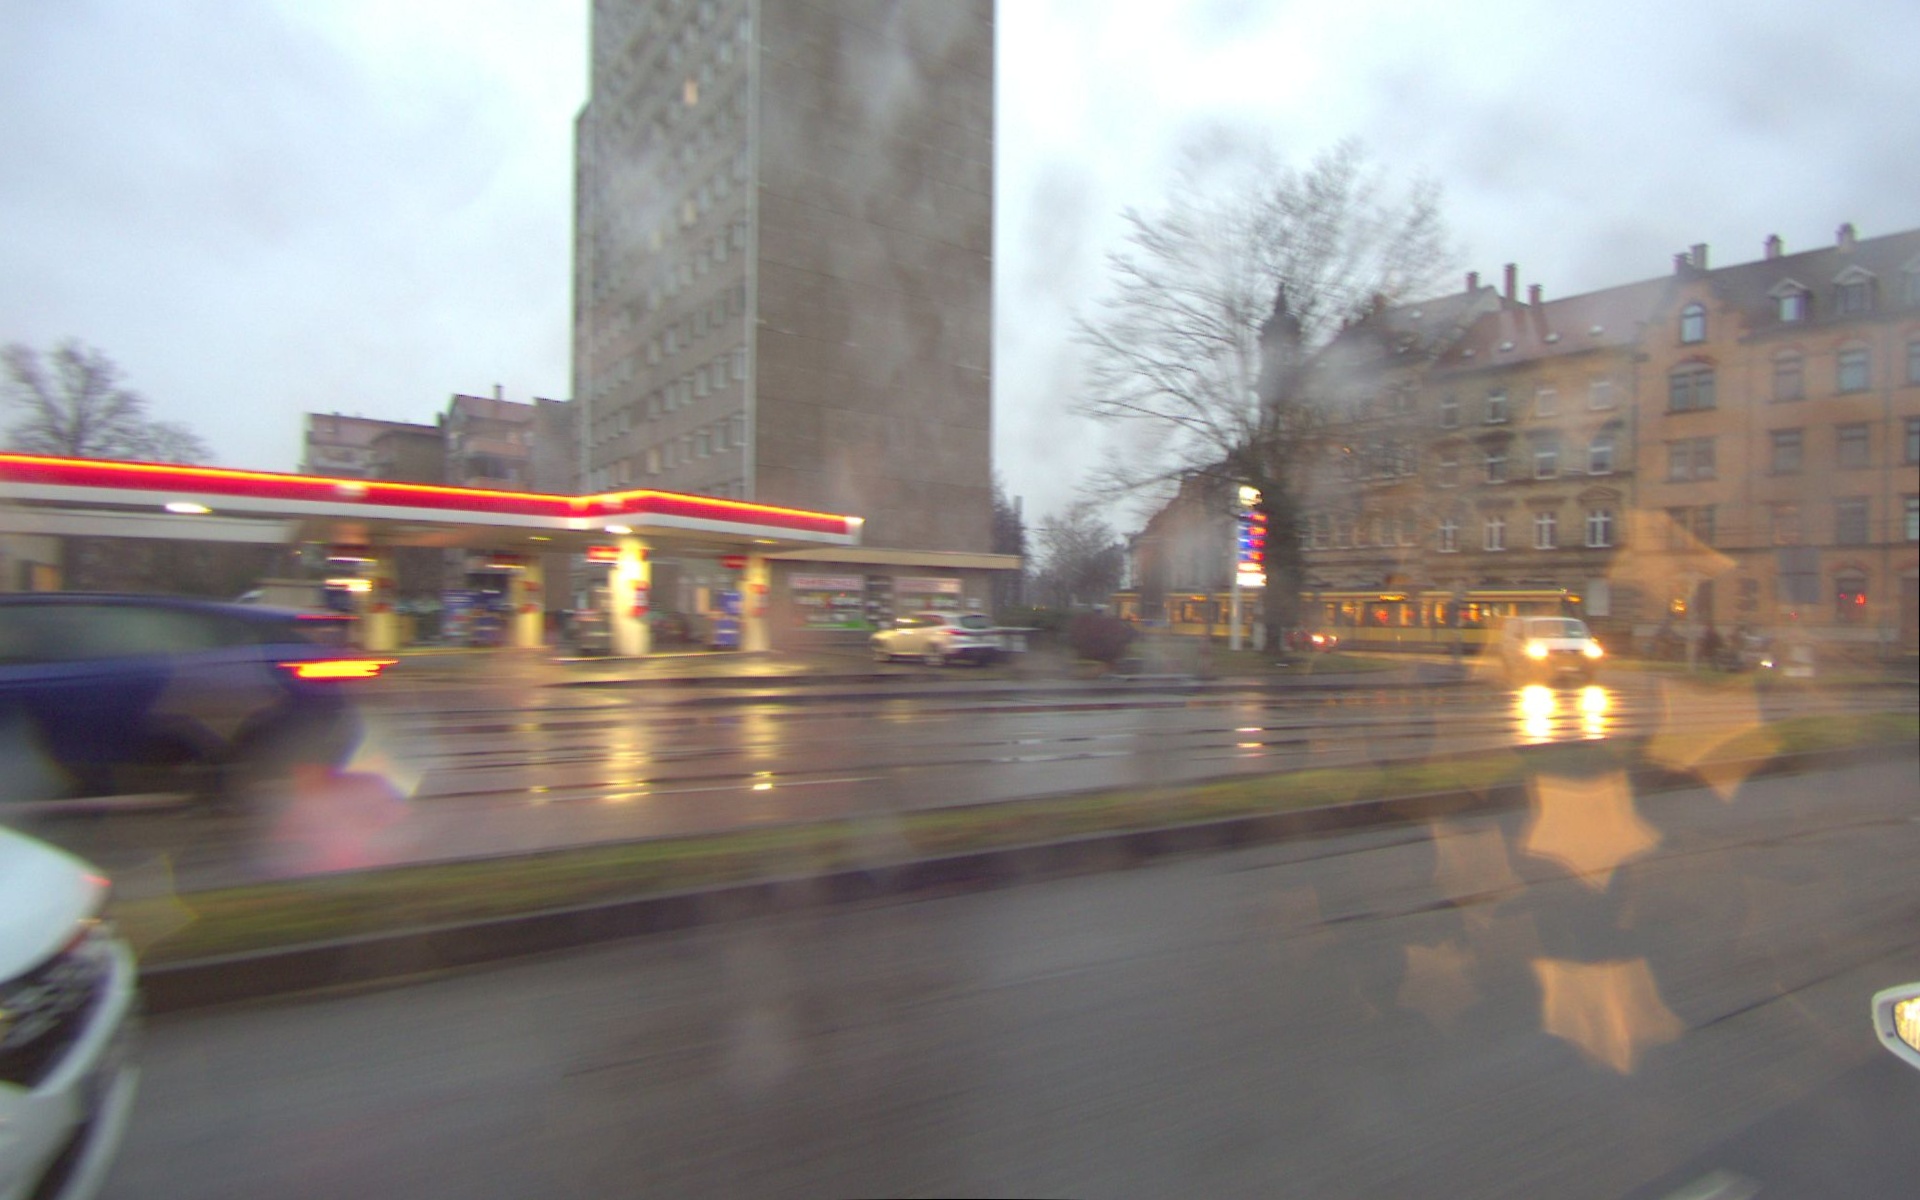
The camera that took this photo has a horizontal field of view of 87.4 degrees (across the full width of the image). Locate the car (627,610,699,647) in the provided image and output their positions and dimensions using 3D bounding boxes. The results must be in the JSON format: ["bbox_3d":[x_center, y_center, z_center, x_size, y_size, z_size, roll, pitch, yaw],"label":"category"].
[{"bbox_3d":[-13.234,1.232,44.632,1.980,1.550,3.961,1,-1,-34],"label":"car"}]

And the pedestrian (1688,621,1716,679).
[{"bbox_3d":[23.492,1.570,31.806,0.529,1.816,0.619,0,0,-45],"label":"pedestrian"}]

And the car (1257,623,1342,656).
[{"bbox_3d":[16.768,1.947,49.789,1.631,1.469,3.818,2,-1,-31],"label":"car"}]

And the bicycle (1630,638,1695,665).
[{"bbox_3d":[26.268,1.919,37.580,1.949,0.912,0.505,1,0,30],"label":"bicycle"}]

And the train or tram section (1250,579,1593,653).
[{"bbox_3d":[22.792,0.614,51.455,3.145,3.231,16.111,1,0,-41],"label":"train or tram section"}]

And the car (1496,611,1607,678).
[{"bbox_3d":[18.854,1.447,32.258,1.960,1.971,4.857,-1,-3,17],"label":"car"}]

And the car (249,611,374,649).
[{"bbox_3d":[-25.099,1.157,38.920,3.961,1.399,1.943,2,-1,-36],"label":"car"}]

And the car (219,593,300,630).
[{"bbox_3d":[-42.601,0.734,61.134,3.961,2.140,1.980,2,-1,-36],"label":"car"}]

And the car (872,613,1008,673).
[{"bbox_3d":[-0.616,1.146,27.937,1.764,1.550,3.956,1,-1,-38],"label":"car"}]

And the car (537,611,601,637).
[{"bbox_3d":[-26.719,1.630,68.689,3.942,1.751,1.990,1,-1,-22],"label":"car"}]

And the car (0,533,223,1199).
[{"bbox_3d":[-3.364,0.650,1.119,3.955,1.506,1.617,1,-1,-32],"label":"car"}]

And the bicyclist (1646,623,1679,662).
[{"bbox_3d":[26.276,1.580,37.576,0.952,1.409,0.505,1,0,30],"label":"bicyclist"}]

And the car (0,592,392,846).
[{"bbox_3d":[-6.756,0.786,7.201,4.601,1.652,1.639,1,-1,-28],"label":"car"}]

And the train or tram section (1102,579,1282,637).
[{"bbox_3d":[13.939,0.392,61.681,3.145,3.280,11.016,1,0,-41],"label":"train or tram section"}]
